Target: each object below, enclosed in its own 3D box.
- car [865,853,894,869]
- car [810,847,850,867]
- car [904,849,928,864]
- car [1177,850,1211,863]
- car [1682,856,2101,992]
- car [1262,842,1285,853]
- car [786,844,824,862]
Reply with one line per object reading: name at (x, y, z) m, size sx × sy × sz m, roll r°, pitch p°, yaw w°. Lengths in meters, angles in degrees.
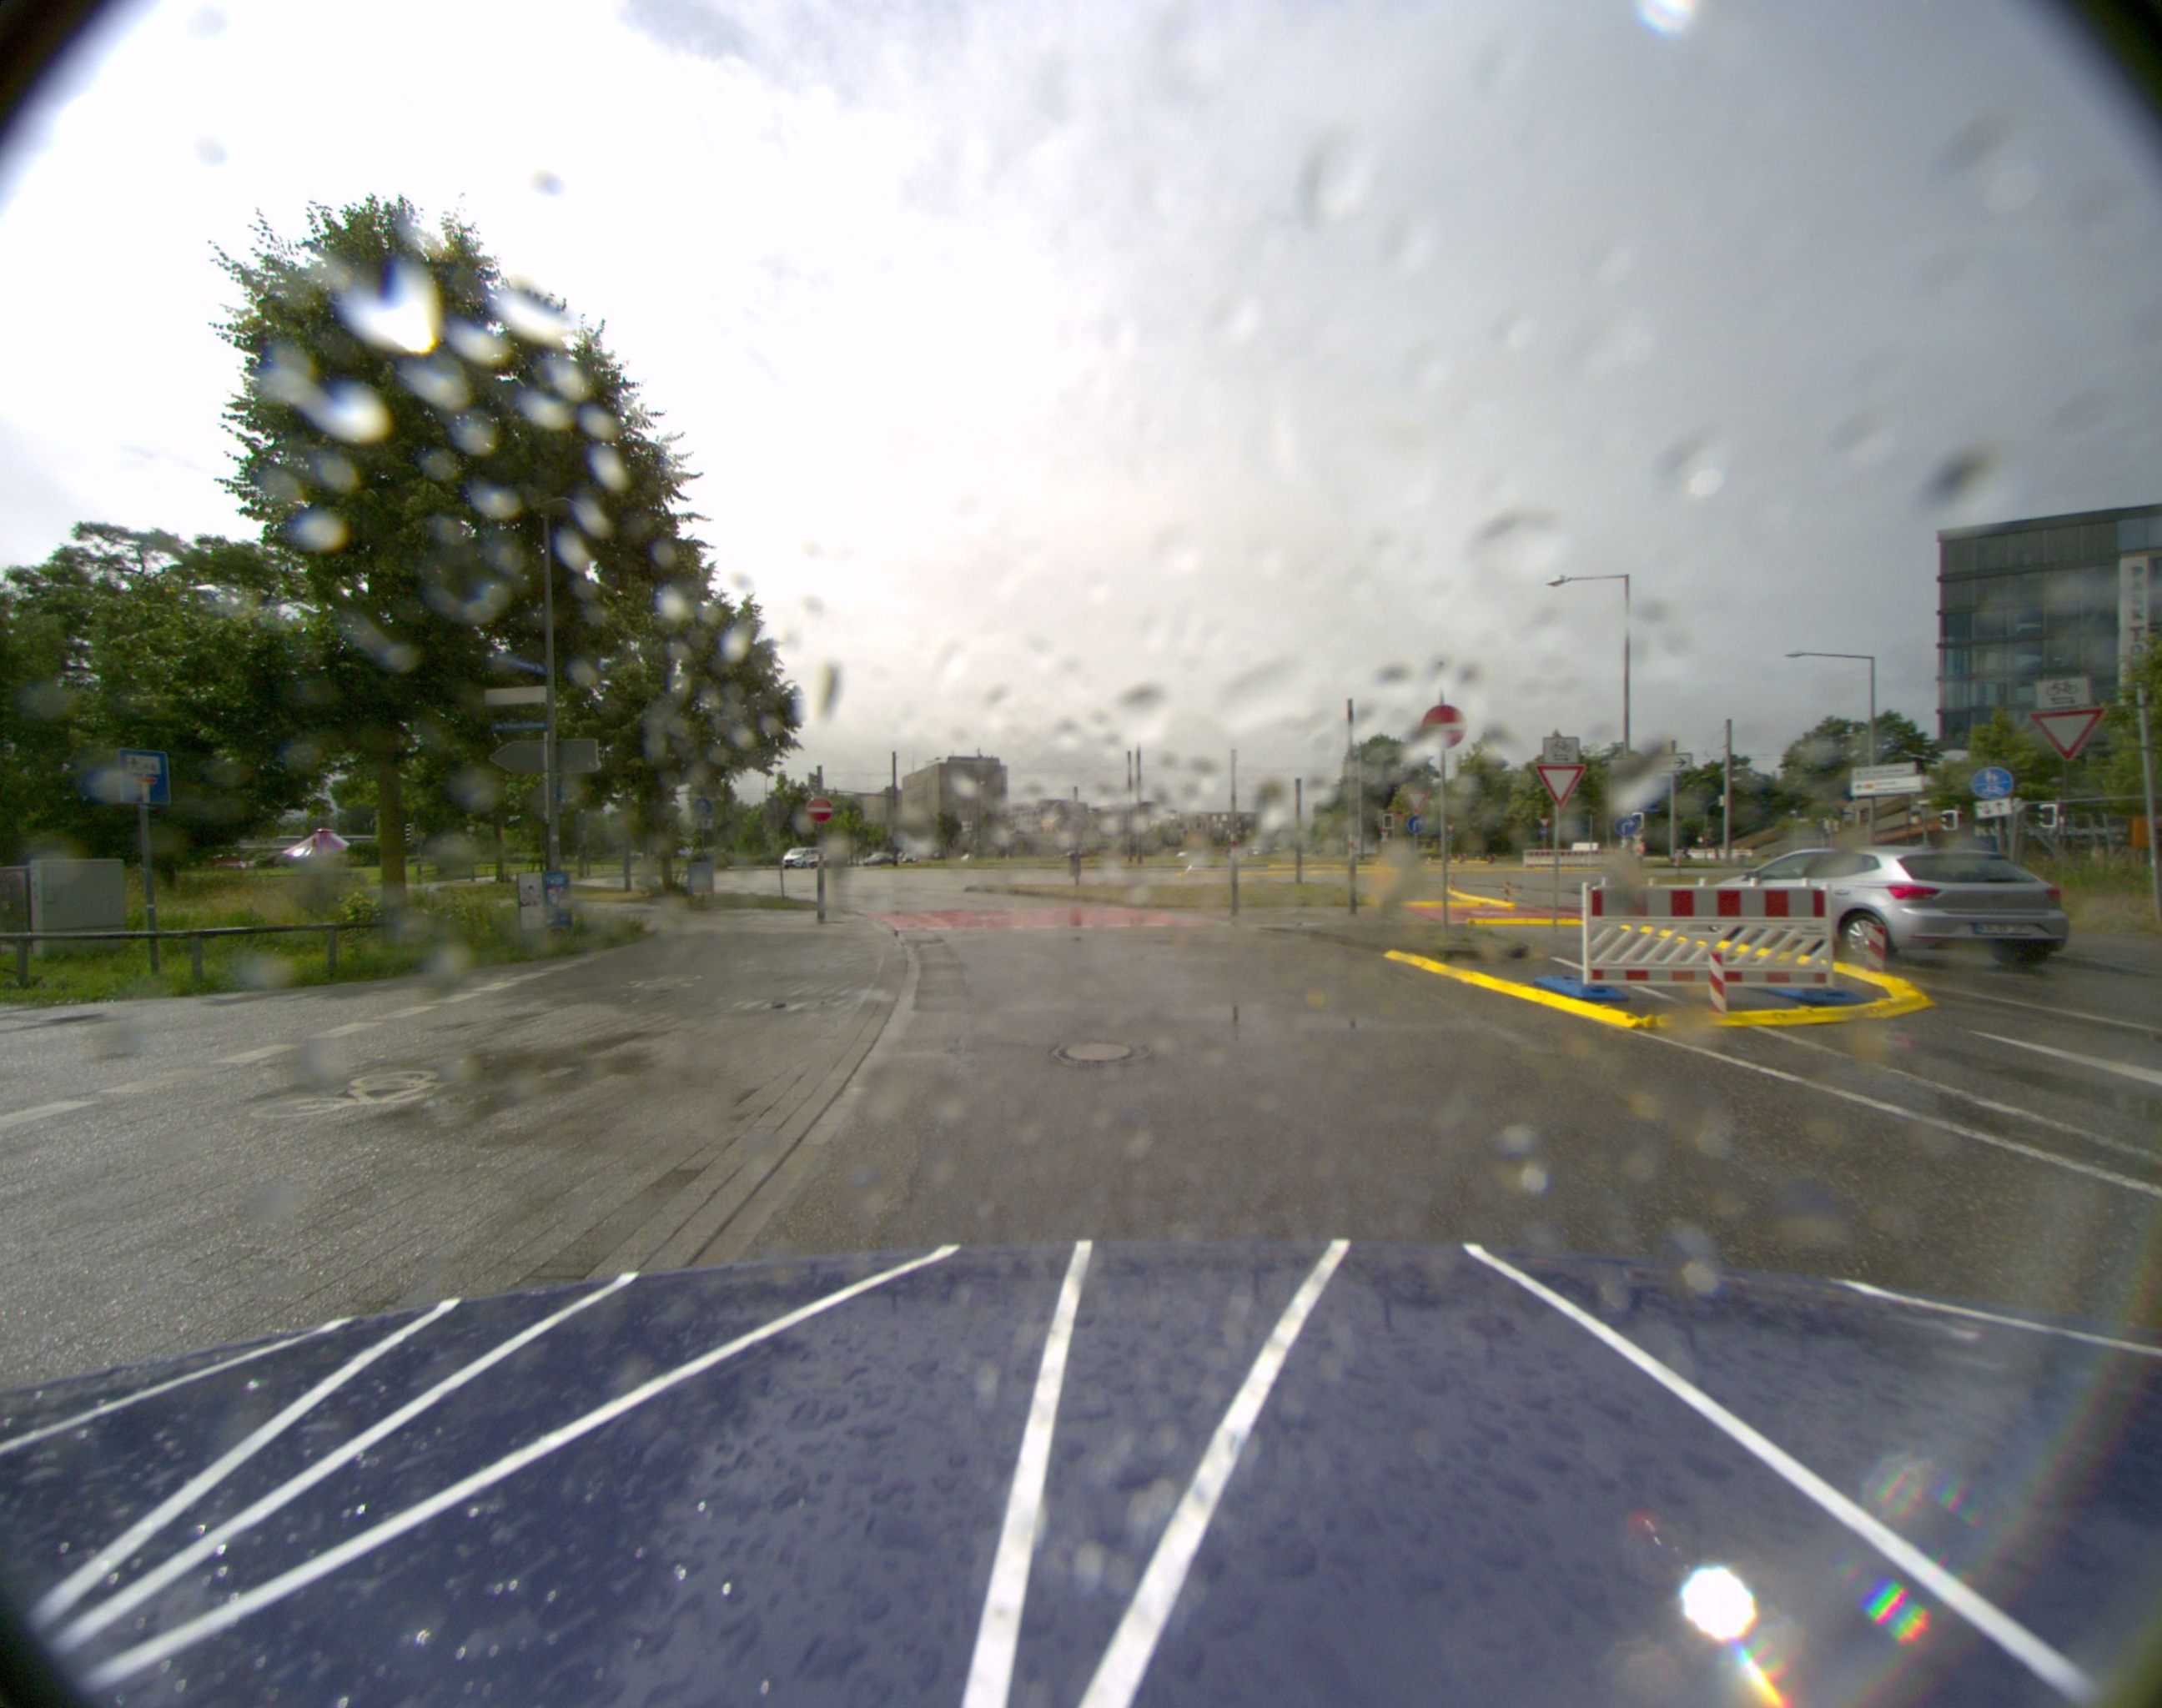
car at (-20.977, 0.679, 79.098) m, size 1.769 × 1.587 × 4.000 m, roll -1°, pitch 1°, yaw 3°
car at (-22.425, 0.275, 68.100) m, size 1.667 × 1.678 × 4.208 m, roll -1°, pitch 0°, yaw 8°
car at (-20.138, 0.271, 92.907) m, size 1.867 × 1.739 × 4.001 m, roll 0°, pitch 0°, yaw 3°
car at (13.861, 0.283, 93.344) m, size 4.126 × 1.521 × 1.665 m, roll -1°, pitch 0°, yaw -37°
car at (10.510, 0.783, 10.425) m, size 1.741 × 1.406 × 4.182 m, roll -1°, pitch 1°, yaw 9°
car at (27.063, -0.877, 106.715) m, size 1.664 × 1.521 × 3.488 m, roll -1°, pitch 0°, yaw 42°
car at (-26.530, -0.109, 73.201) m, size 1.891 × 1.703 × 4.230 m, roll 0°, pitch 0°, yaw 3°
